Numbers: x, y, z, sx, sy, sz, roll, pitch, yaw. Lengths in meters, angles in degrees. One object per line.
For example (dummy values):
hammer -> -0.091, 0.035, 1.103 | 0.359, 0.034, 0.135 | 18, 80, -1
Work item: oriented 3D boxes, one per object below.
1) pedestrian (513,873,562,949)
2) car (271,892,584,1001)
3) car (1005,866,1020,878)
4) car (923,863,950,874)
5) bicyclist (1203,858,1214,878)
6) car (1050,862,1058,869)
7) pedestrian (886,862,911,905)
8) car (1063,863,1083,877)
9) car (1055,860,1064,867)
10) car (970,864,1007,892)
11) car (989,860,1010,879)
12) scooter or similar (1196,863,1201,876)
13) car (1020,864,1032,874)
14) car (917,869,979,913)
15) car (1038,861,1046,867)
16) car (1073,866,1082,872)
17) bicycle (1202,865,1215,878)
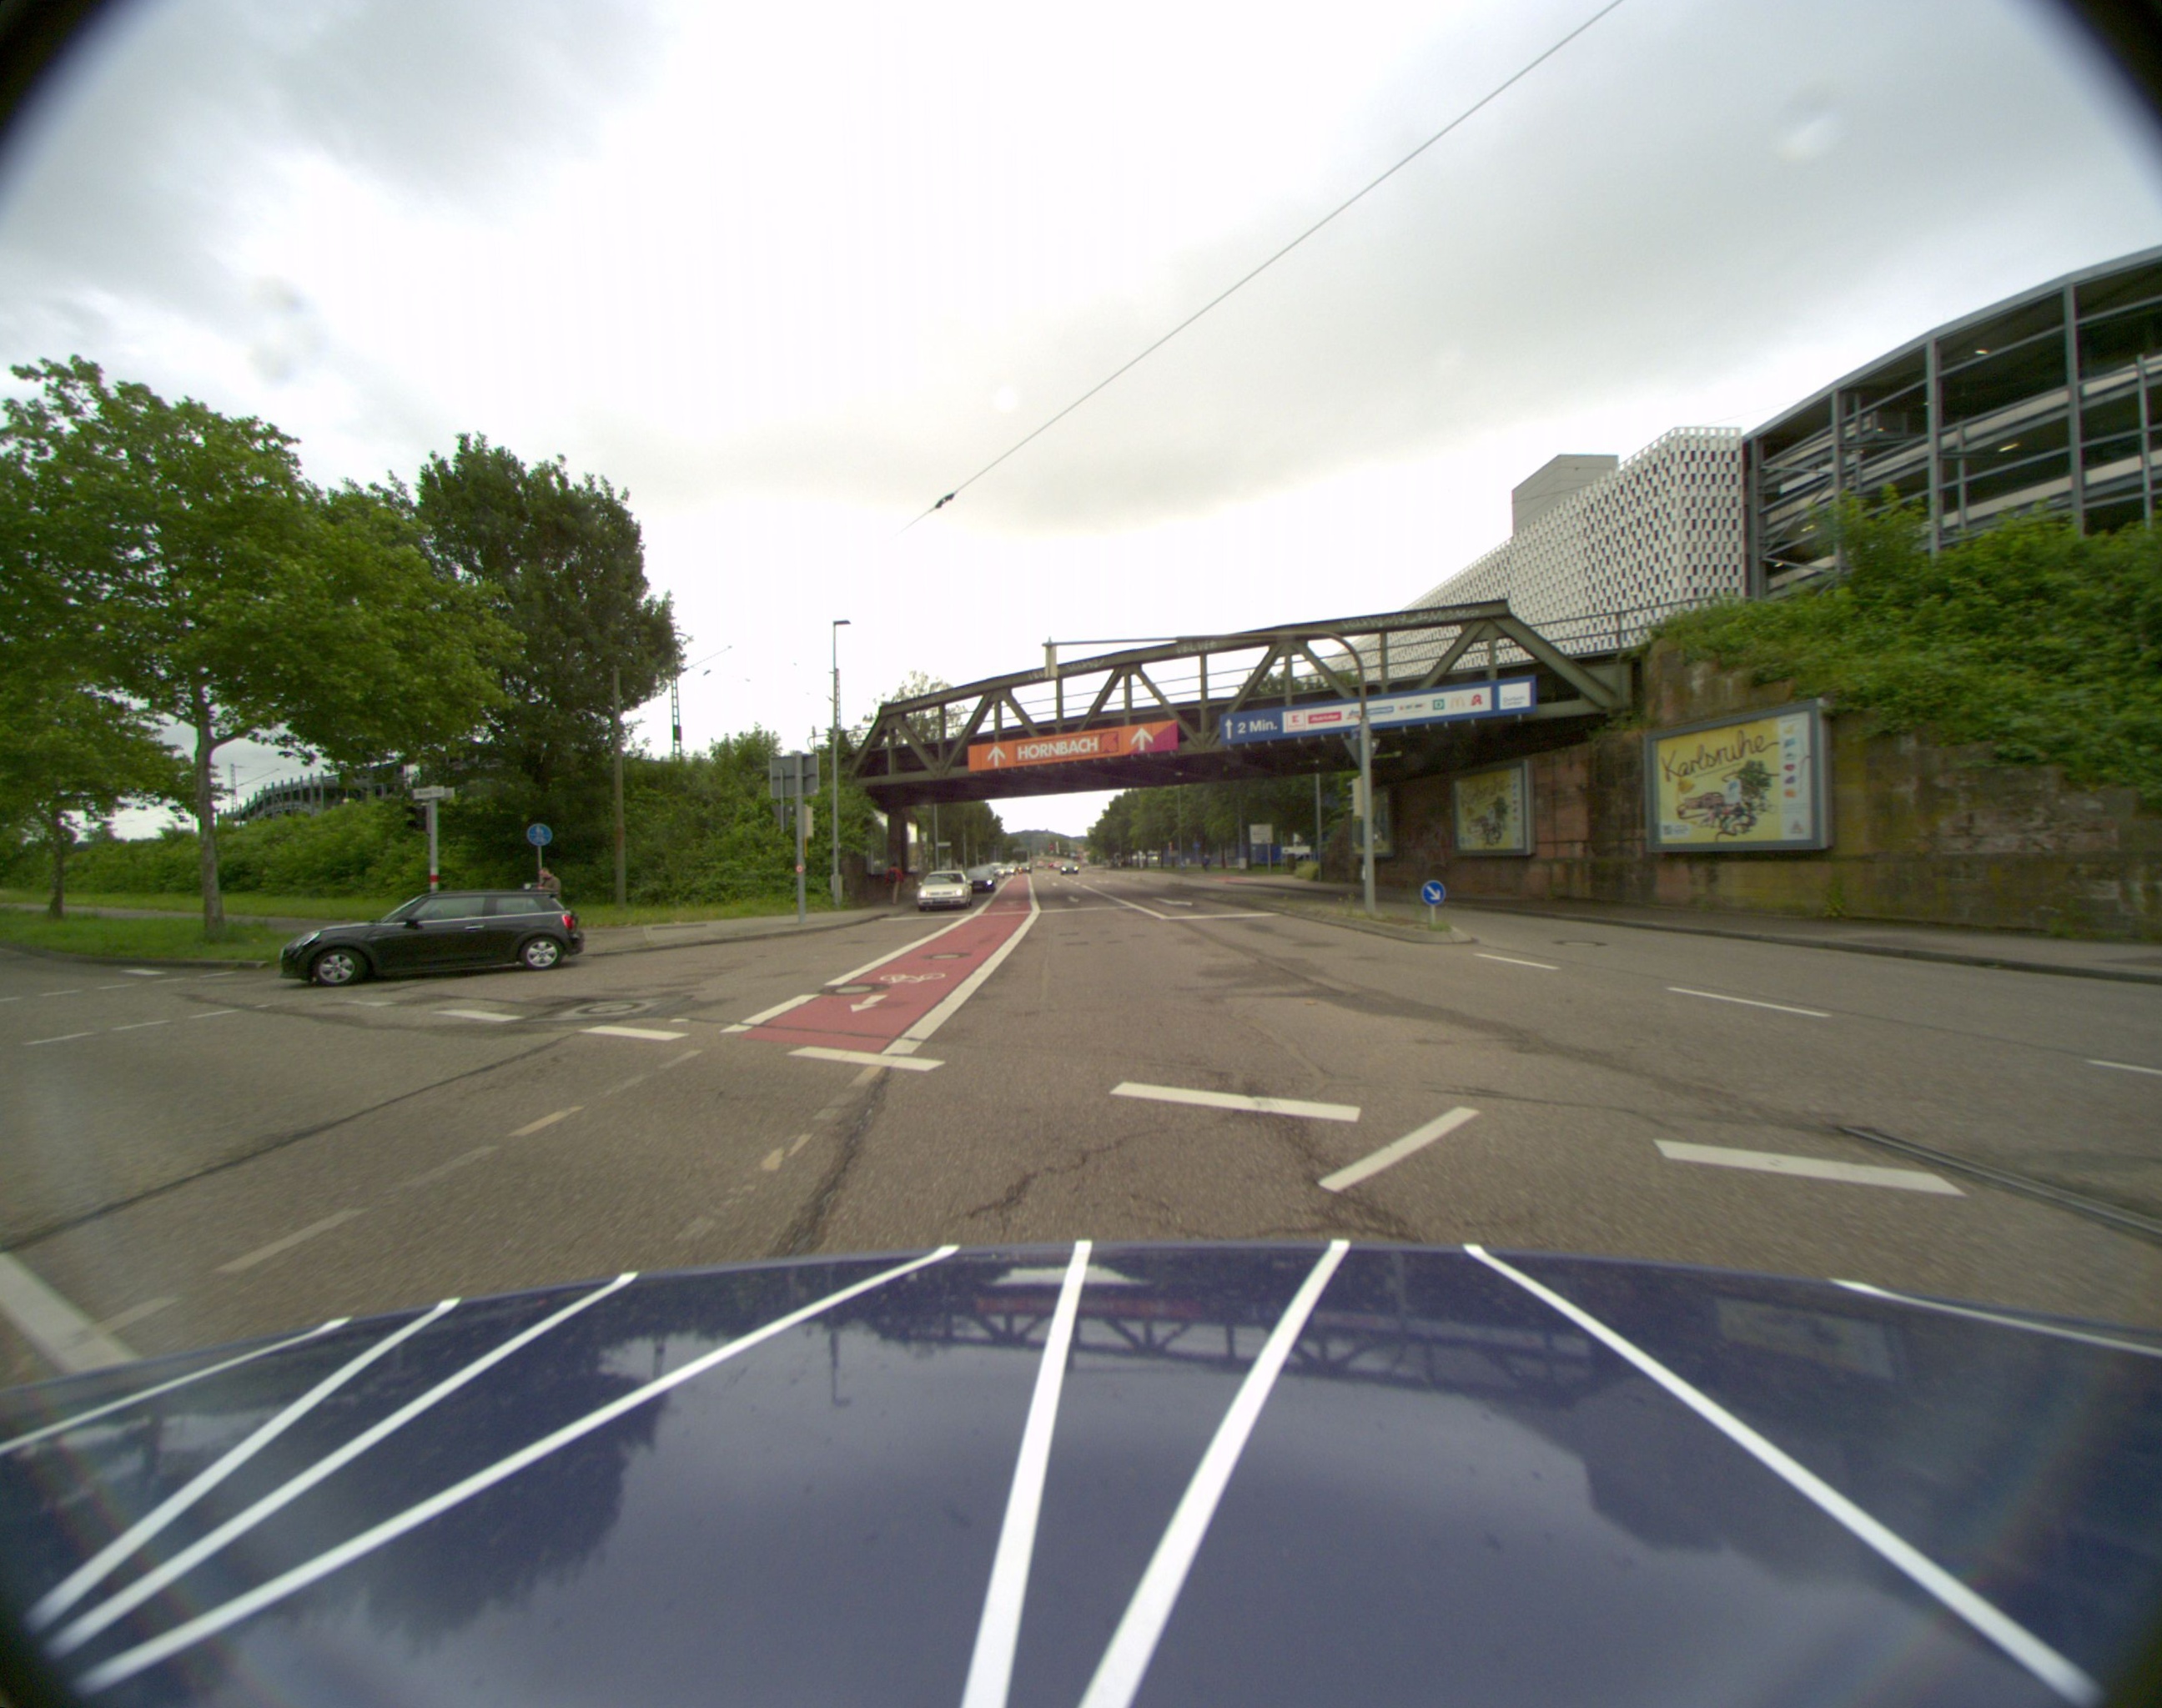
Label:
pedestrian -> -12.187, 1.254, 17.047 | 0.780, 1.630, 0.742 | -2, 0, -42
car -> -10.632, 1.432, 12.773 | 3.780, 1.423, 1.681 | -1, -2, -33
car -> -9.220, 2.398, 102.625 | 1.837, 1.415, 3.999 | -3, -1, -4
car -> -24.060, 2.373, 126.665 | 4.200, 1.423, 1.738 | -4, 0, -4
bicyclist -> 12.574, 1.369, 74.922 | 0.704, 1.863, 1.019 | -3, 1, -4
car -> -7.767, 3.286, 216.500 | 1.652, 1.787, 3.978 | 1, -1, -10
pedestrian -> -7.711, 1.231, 32.080 | 0.875, 1.749, 0.786 | -2, 0, -22
car -> -0.915, 1.724, 82.495 | 1.837, 1.415, 3.999 | -3, -1, -4
car -> -5.407, 2.338, 188.640 | 1.824, 1.577, 4.511 | 0, -1, -8
car -> -5.257, 1.351, 43.369 | 1.837, 1.415, 3.999 | -3, -1, -4
car -> -8.424, 1.613, 78.162 | 1.996, 1.837, 4.102 | -2, -1, -7
scooter or similar -> 12.720, 1.680, 82.201 | 0.448, 1.314, 1.506 | -2, 0, 6
car -> -8.643, 2.300, 119.318 | 1.837, 1.415, 3.999 | -3, -1, -4
car -> -4.871, 1.321, 28.304 | 1.726, 1.415, 3.940 | -3, -1, -3
car -> -11.216, 2.805, 218.176 | 1.652, 1.787, 3.978 | 0, -1, -11
car -> -0.797, 3.414, 177.526 | 1.681, 1.420, 3.649 | 0, -1, -7
bicycle -> 12.587, 1.704, 74.923 | 0.715, 1.180, 2.370 | -3, 0, -4
